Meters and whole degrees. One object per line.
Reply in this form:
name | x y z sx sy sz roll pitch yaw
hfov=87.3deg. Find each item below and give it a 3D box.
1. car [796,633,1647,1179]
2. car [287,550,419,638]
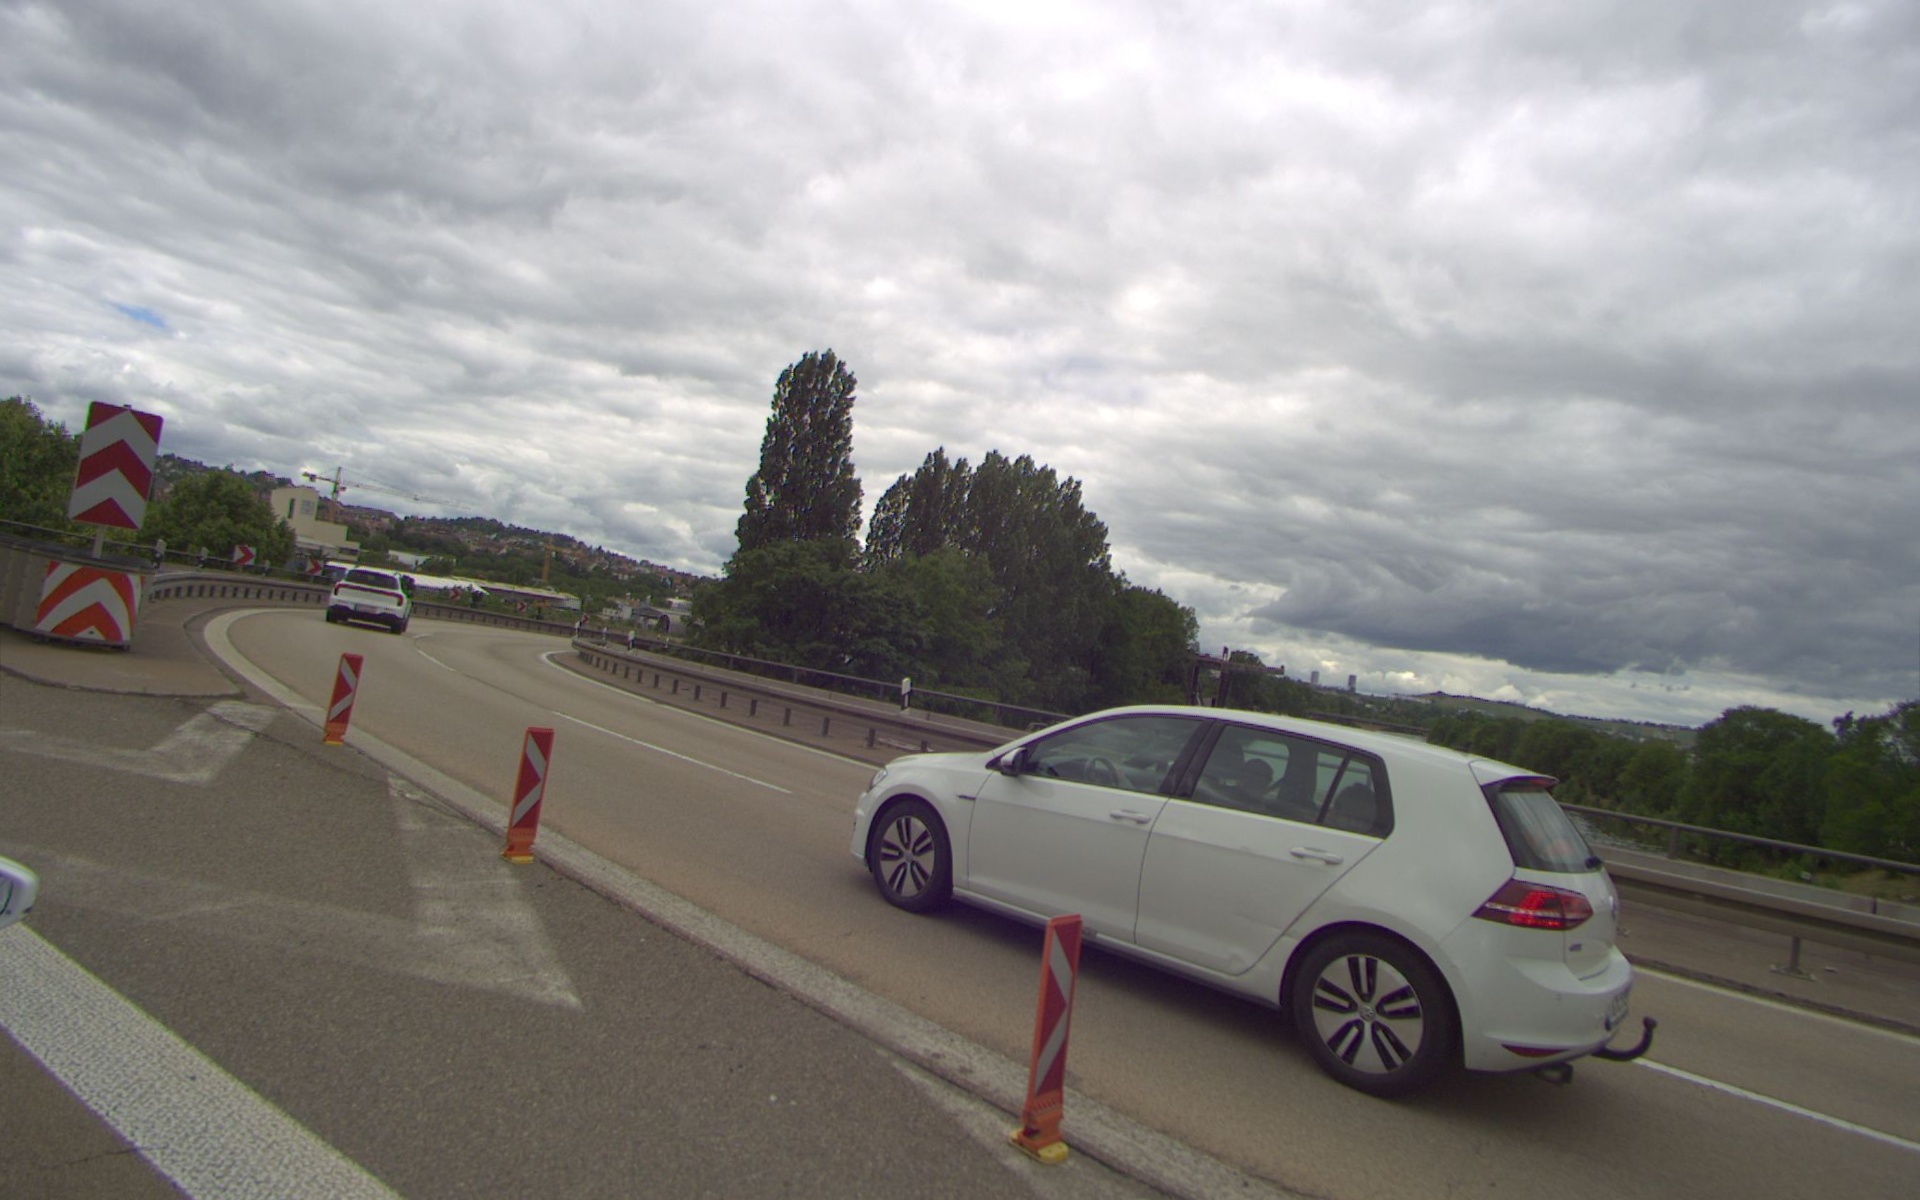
car | 1.152 1.238 5.507 4.015 1.467 1.755 7 -4 42
car | -17.305 -0.200 28.609 4.057 1.802 1.926 7 -6 43
